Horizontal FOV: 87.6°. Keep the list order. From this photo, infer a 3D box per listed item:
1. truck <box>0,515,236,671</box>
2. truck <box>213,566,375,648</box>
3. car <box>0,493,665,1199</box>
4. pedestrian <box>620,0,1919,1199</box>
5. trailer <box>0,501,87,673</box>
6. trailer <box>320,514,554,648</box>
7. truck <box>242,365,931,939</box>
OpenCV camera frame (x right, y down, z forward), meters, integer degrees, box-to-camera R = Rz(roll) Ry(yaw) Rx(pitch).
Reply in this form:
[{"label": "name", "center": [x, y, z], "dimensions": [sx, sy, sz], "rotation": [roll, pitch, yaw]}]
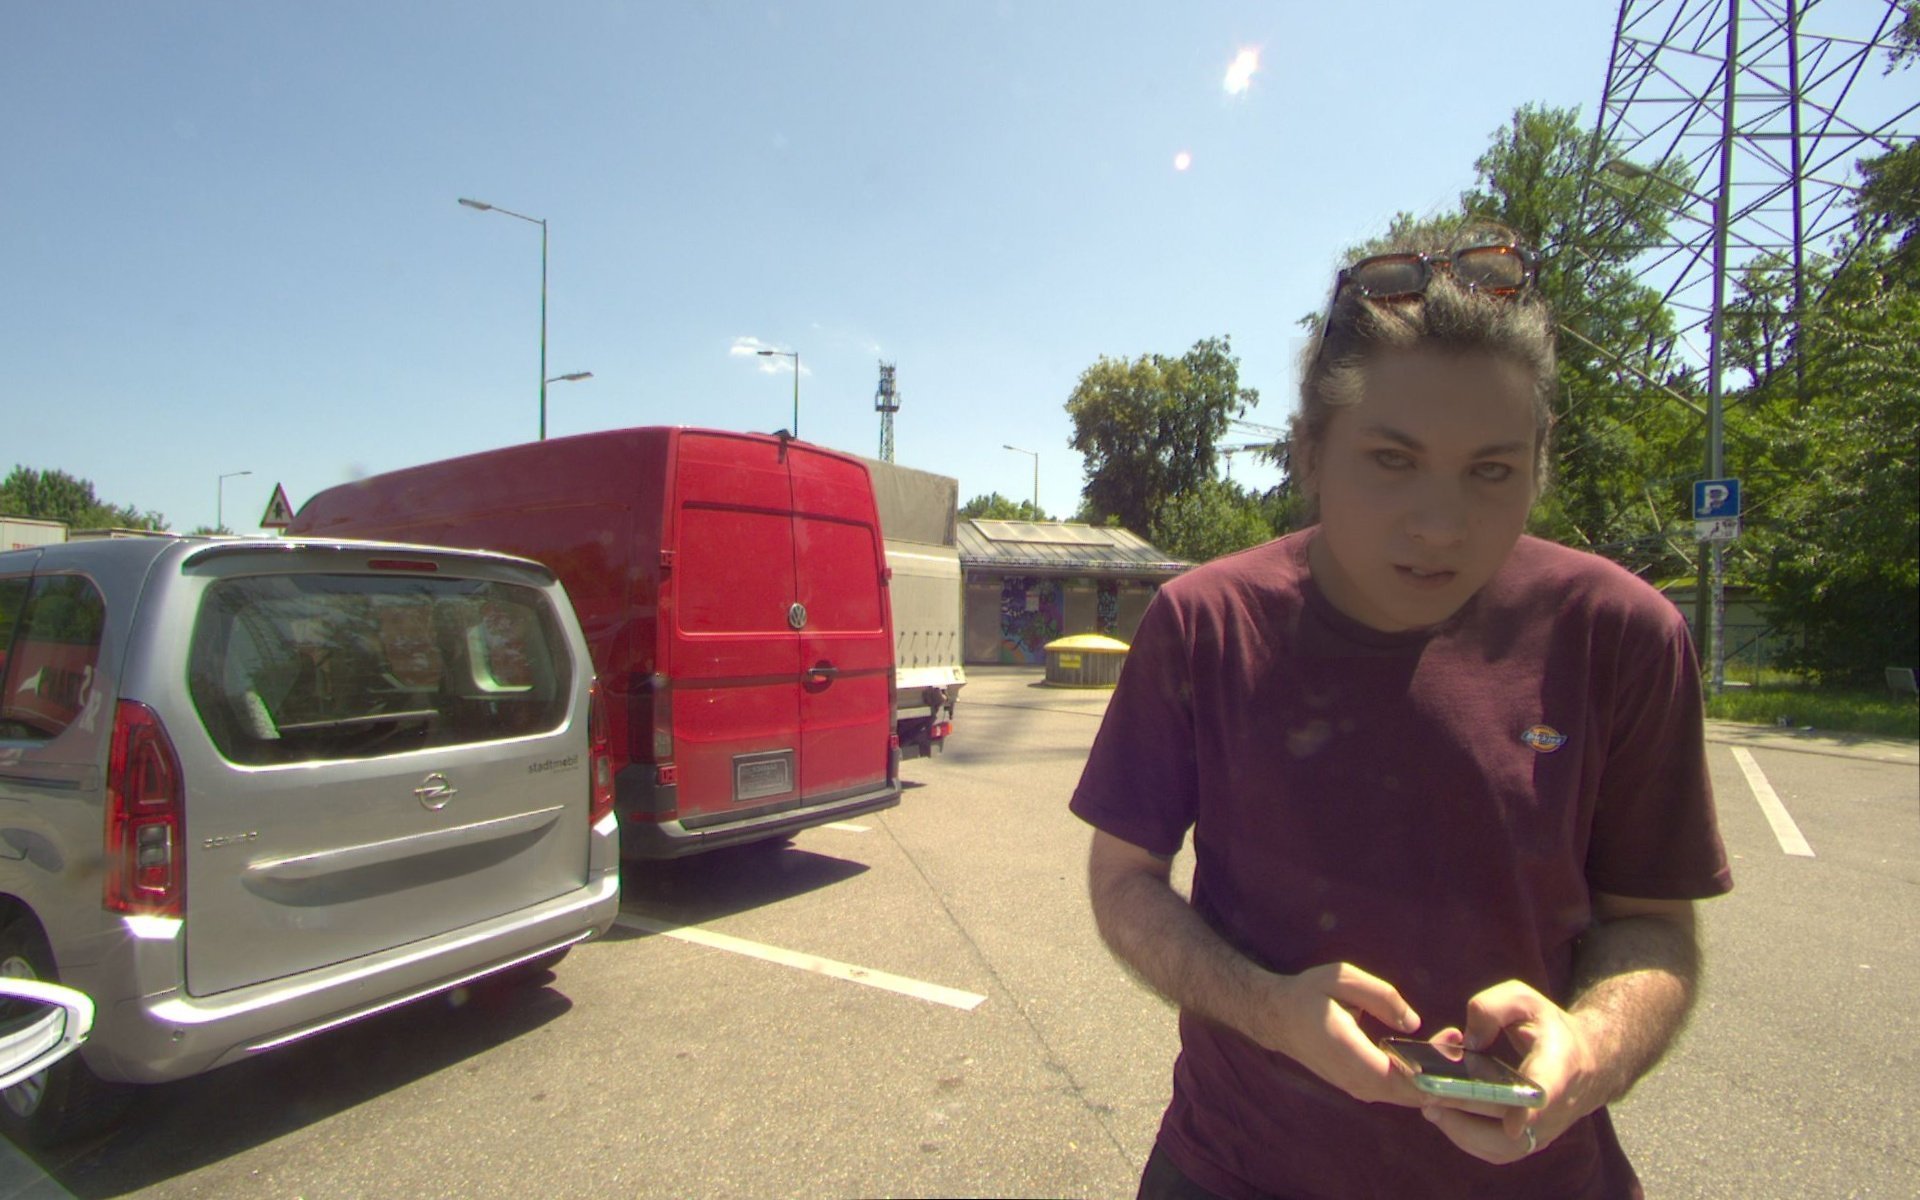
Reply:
[{"label": "truck", "center": [-28.008, -0.130, 31.793], "dimensions": [14.316, 4.175, 2.901], "rotation": [0, -3, 33]}, {"label": "truck", "center": [-30.728, 0.320, 46.081], "dimensions": [8.407, 3.482, 3.019], "rotation": [0, -1, 33]}, {"label": "car", "center": [-3.363, 0.639, 4.225], "dimensions": [3.938, 1.776, 1.824], "rotation": [0, -1, 29]}, {"label": "pedestrian", "center": [0.351, 0.513, 0.871], "dimensions": [0.926, 1.798, 0.827], "rotation": [1, 0, 28]}, {"label": "trailer", "center": [-28.813, -0.327, 28.039], "dimensions": [13.374, 4.178, 2.871], "rotation": [0, -1, 33]}, {"label": "trailer", "center": [-18.635, -0.510, 36.549], "dimensions": [2.789, 4.313, 8.683], "rotation": [1, -1, 10]}, {"label": "truck", "center": [-2.877, 0.264, 7.010], "dimensions": [5.233, 2.658, 1.987], "rotation": [0, -1, 37]}]
